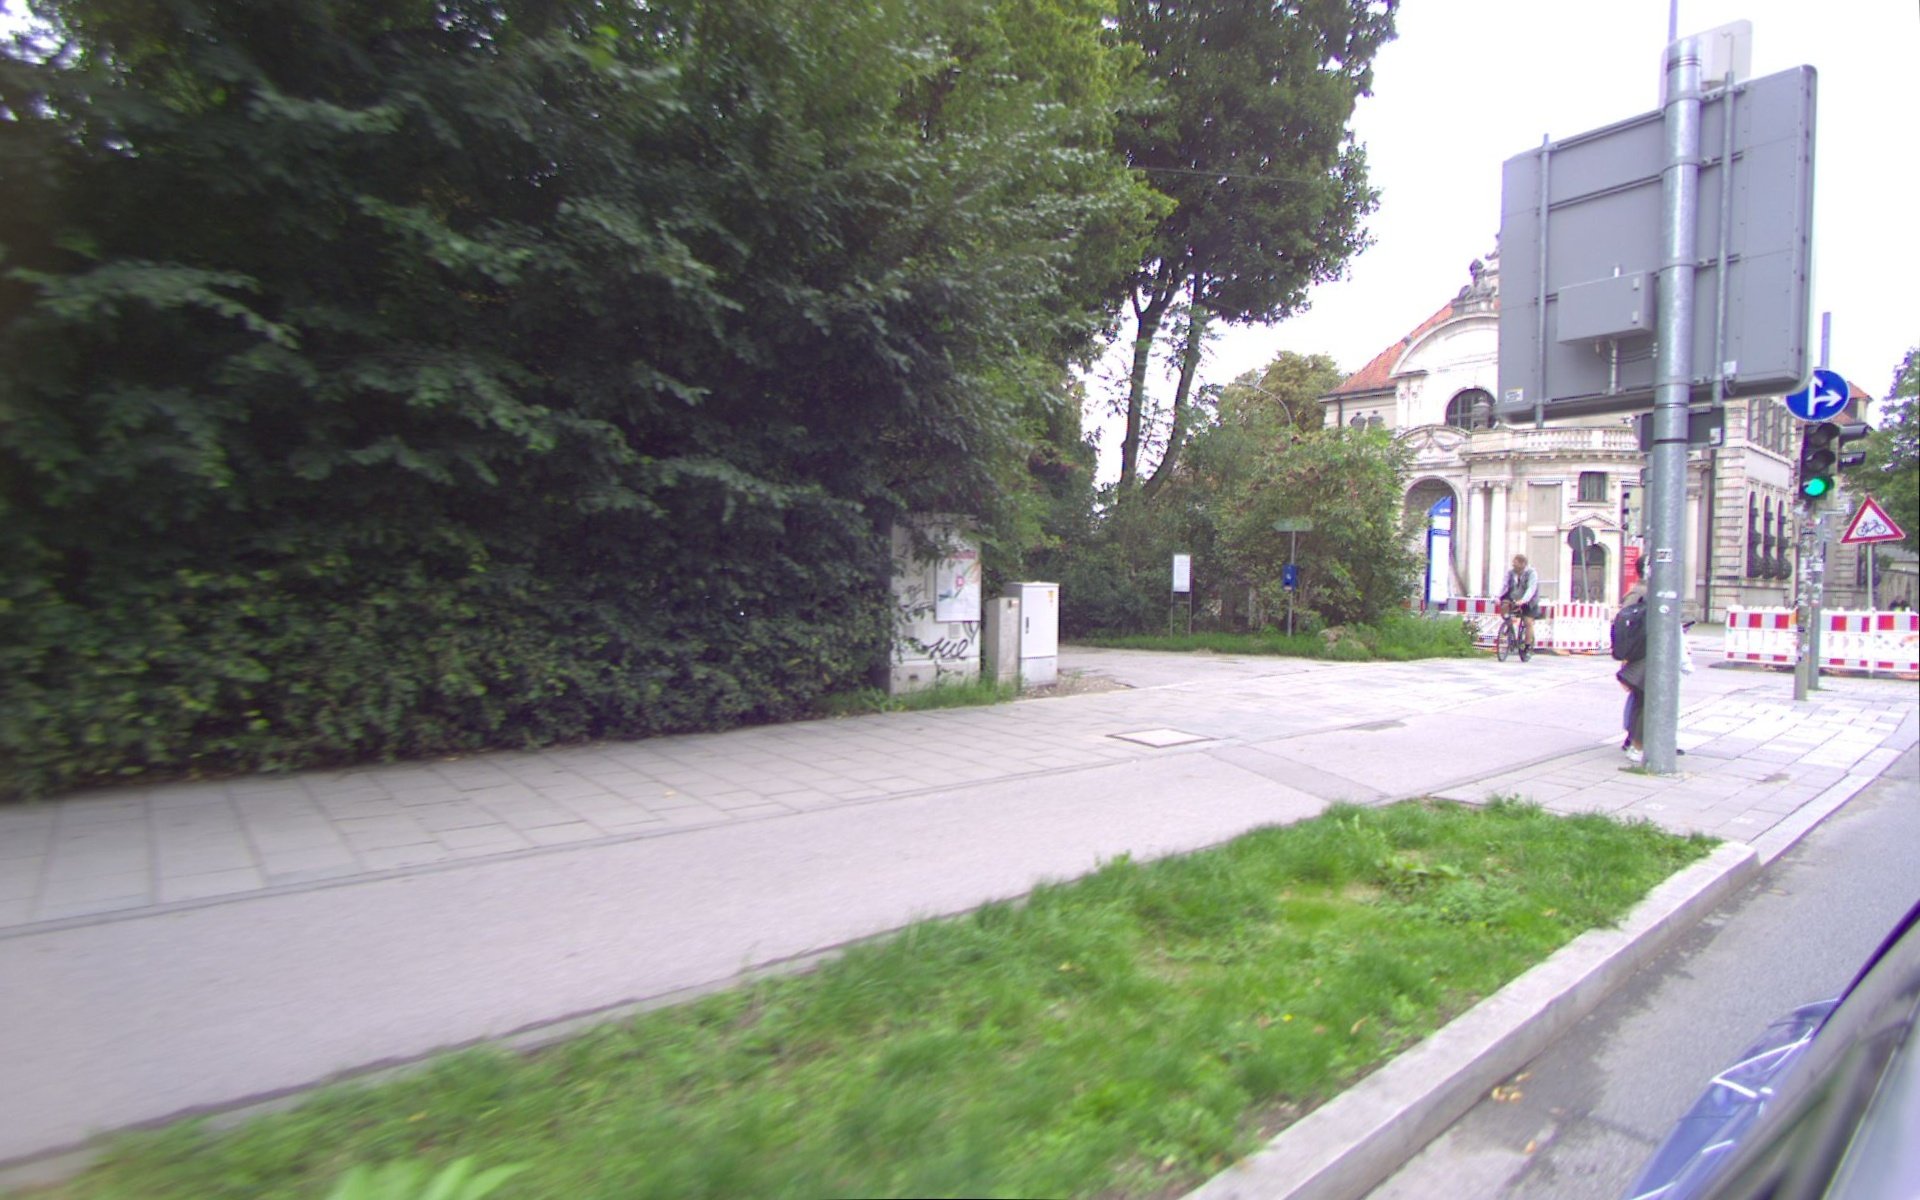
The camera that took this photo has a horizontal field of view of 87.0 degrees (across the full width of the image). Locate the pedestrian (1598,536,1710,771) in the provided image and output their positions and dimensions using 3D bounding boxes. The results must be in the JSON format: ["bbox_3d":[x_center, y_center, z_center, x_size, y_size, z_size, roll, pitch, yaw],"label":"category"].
[{"bbox_3d":[5.563,0.396,8.110,0.625,1.783,0.625,0,1,-45],"label":"pedestrian"}]

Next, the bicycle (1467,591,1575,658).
[{"bbox_3d":[9.674,0.395,17.425,2.121,1.071,0.740,-1,0,-34],"label":"bicycle"}]

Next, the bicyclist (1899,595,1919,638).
[{"bbox_3d":[30.109,0.498,31.777,0.878,1.330,0.807,0,0,-40],"label":"bicyclist"}]

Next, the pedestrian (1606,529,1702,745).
[{"bbox_3d":[6.047,0.300,8.819,0.608,1.783,0.626,0,0,42],"label":"pedestrian"}]

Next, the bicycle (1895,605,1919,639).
[{"bbox_3d":[30.008,0.679,31.688,2.022,1.019,0.829,-1,0,-41],"label":"bicycle"}]

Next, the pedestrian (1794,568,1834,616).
[{"bbox_3d":[31.831,-0.297,37.717,1.064,1.787,0.762,-1,0,44],"label":"pedestrian"}]

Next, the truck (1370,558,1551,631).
[{"bbox_3d":[18.490,-0.200,37.805,2.247,2.526,5.946,0,0,-25],"label":"truck"}]

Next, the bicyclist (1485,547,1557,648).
[{"bbox_3d":[9.640,-0.046,17.393,0.882,1.688,0.759,0,0,-34],"label":"bicyclist"}]
